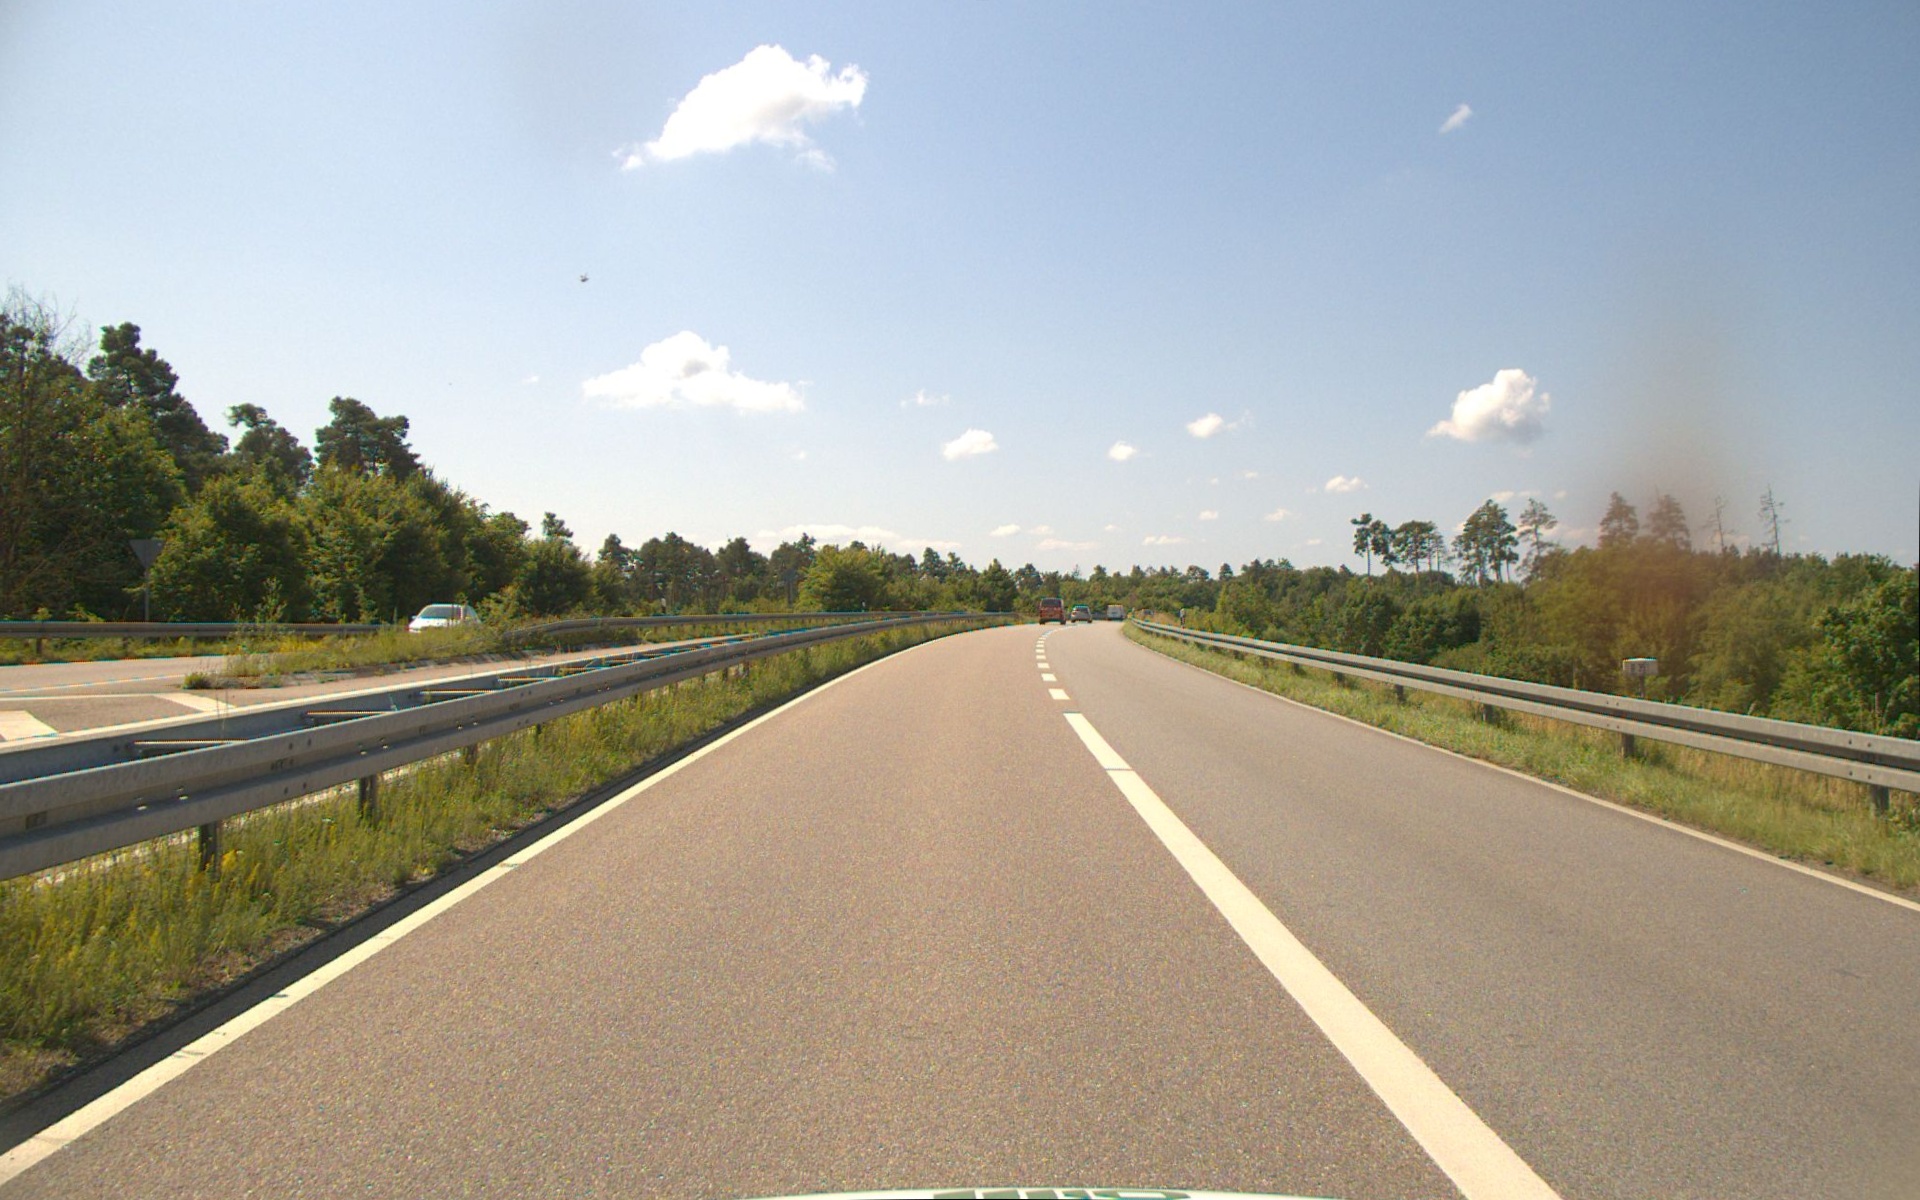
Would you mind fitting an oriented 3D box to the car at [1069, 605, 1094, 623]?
[{"bbox_3d":[10.932,1.269,148.667,1.964,1.520,4.241,1,-1,7],"label":"car"}]

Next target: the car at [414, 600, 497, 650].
[{"bbox_3d":[-16.039,0.766,52.727,1.646,1.453,4.207,1,0,-5],"label":"car"}]

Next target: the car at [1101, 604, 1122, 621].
[{"bbox_3d":[18.408,1.510,200.563,2.138,1.989,5.808,1,-1,9],"label":"car"}]

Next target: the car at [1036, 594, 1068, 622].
[{"bbox_3d":[7.079,0.666,126.695,2.033,2.028,5.115,1,-1,7],"label":"car"}]
